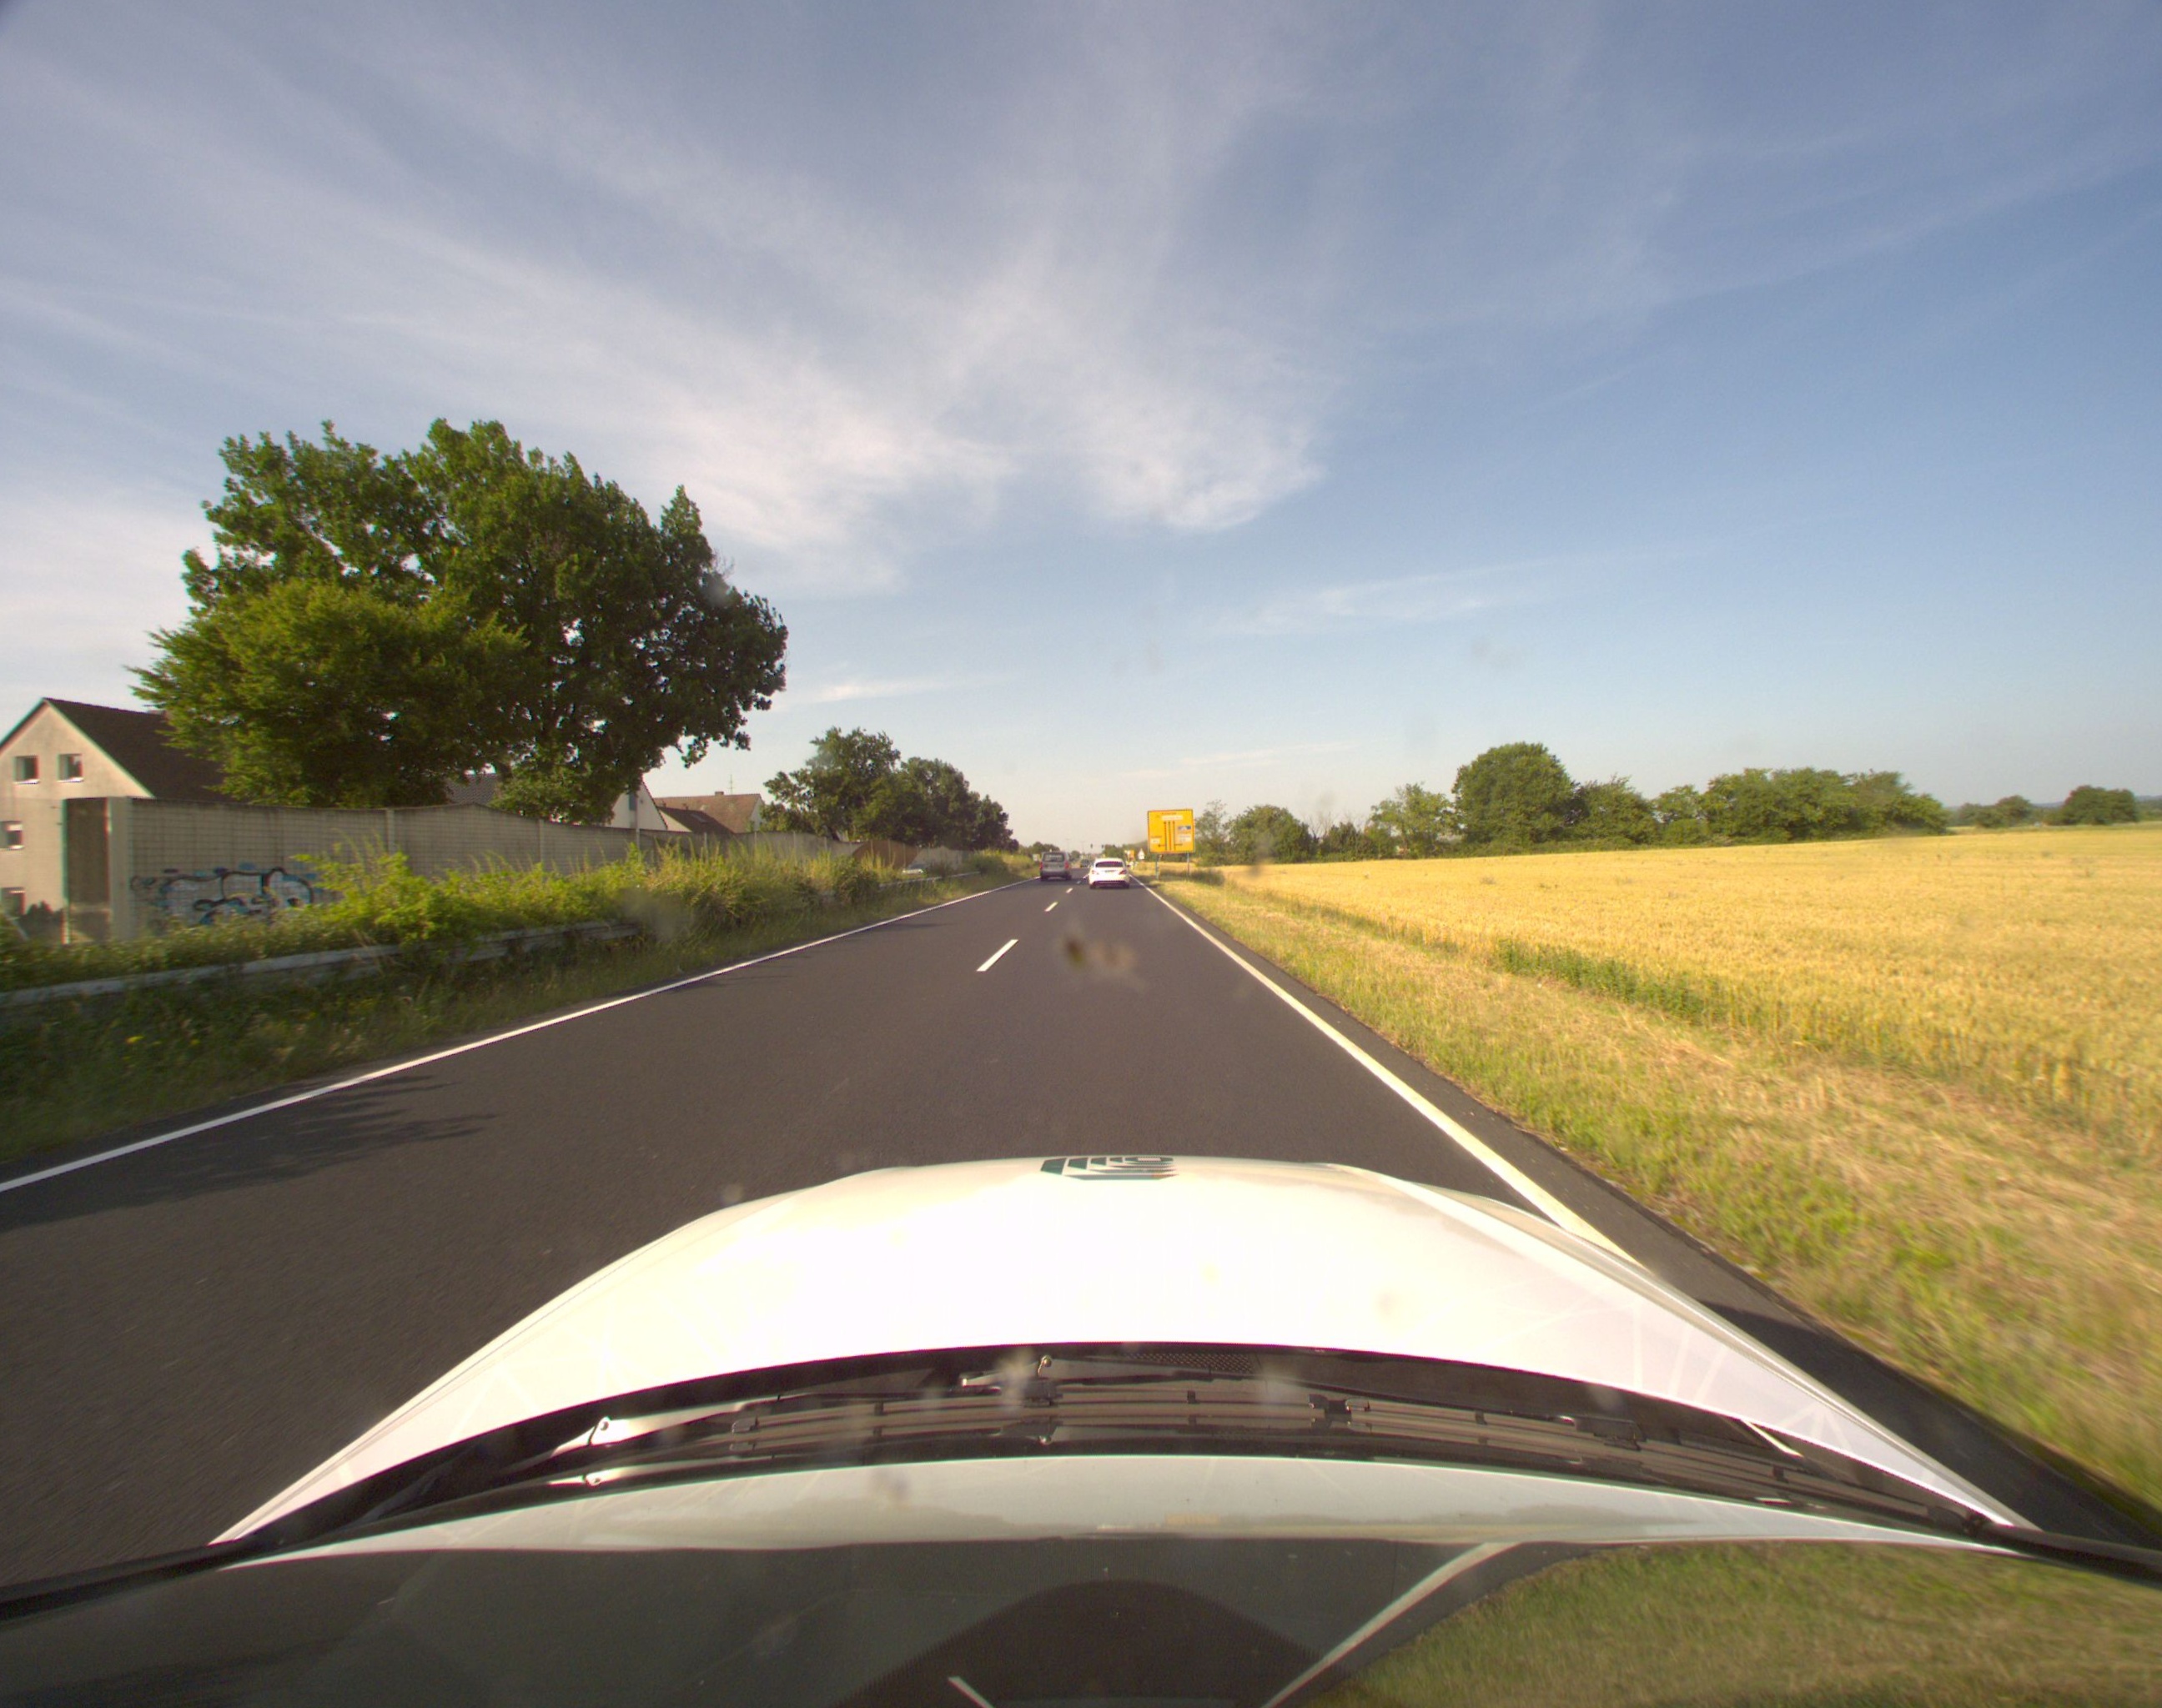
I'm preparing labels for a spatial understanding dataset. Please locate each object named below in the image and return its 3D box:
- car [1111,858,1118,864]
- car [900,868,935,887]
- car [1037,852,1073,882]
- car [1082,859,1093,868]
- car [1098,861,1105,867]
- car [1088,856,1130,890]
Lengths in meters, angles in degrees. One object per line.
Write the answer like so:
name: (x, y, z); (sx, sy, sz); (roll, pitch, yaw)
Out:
car: (8.231, 1.687, 199.050); (1.747, 1.517, 4.002); (-2, -1, 2)
car: (-12.361, 1.732, 61.722); (1.642, 1.361, 4.290); (1, -1, 1)
car: (-1.652, 0.826, 53.708); (2.017, 1.892, 4.961); (0, 0, 2)
car: (1.100, 1.591, 139.444); (1.711, 1.492, 3.586); (0, -1, 2)
car: (5.778, 2.836, 227.571); (1.831, 1.684, 4.004); (0, -1, 4)
car: (1.331, 0.870, 39.127); (1.888, 1.509, 4.001); (-1, -1, 1)
